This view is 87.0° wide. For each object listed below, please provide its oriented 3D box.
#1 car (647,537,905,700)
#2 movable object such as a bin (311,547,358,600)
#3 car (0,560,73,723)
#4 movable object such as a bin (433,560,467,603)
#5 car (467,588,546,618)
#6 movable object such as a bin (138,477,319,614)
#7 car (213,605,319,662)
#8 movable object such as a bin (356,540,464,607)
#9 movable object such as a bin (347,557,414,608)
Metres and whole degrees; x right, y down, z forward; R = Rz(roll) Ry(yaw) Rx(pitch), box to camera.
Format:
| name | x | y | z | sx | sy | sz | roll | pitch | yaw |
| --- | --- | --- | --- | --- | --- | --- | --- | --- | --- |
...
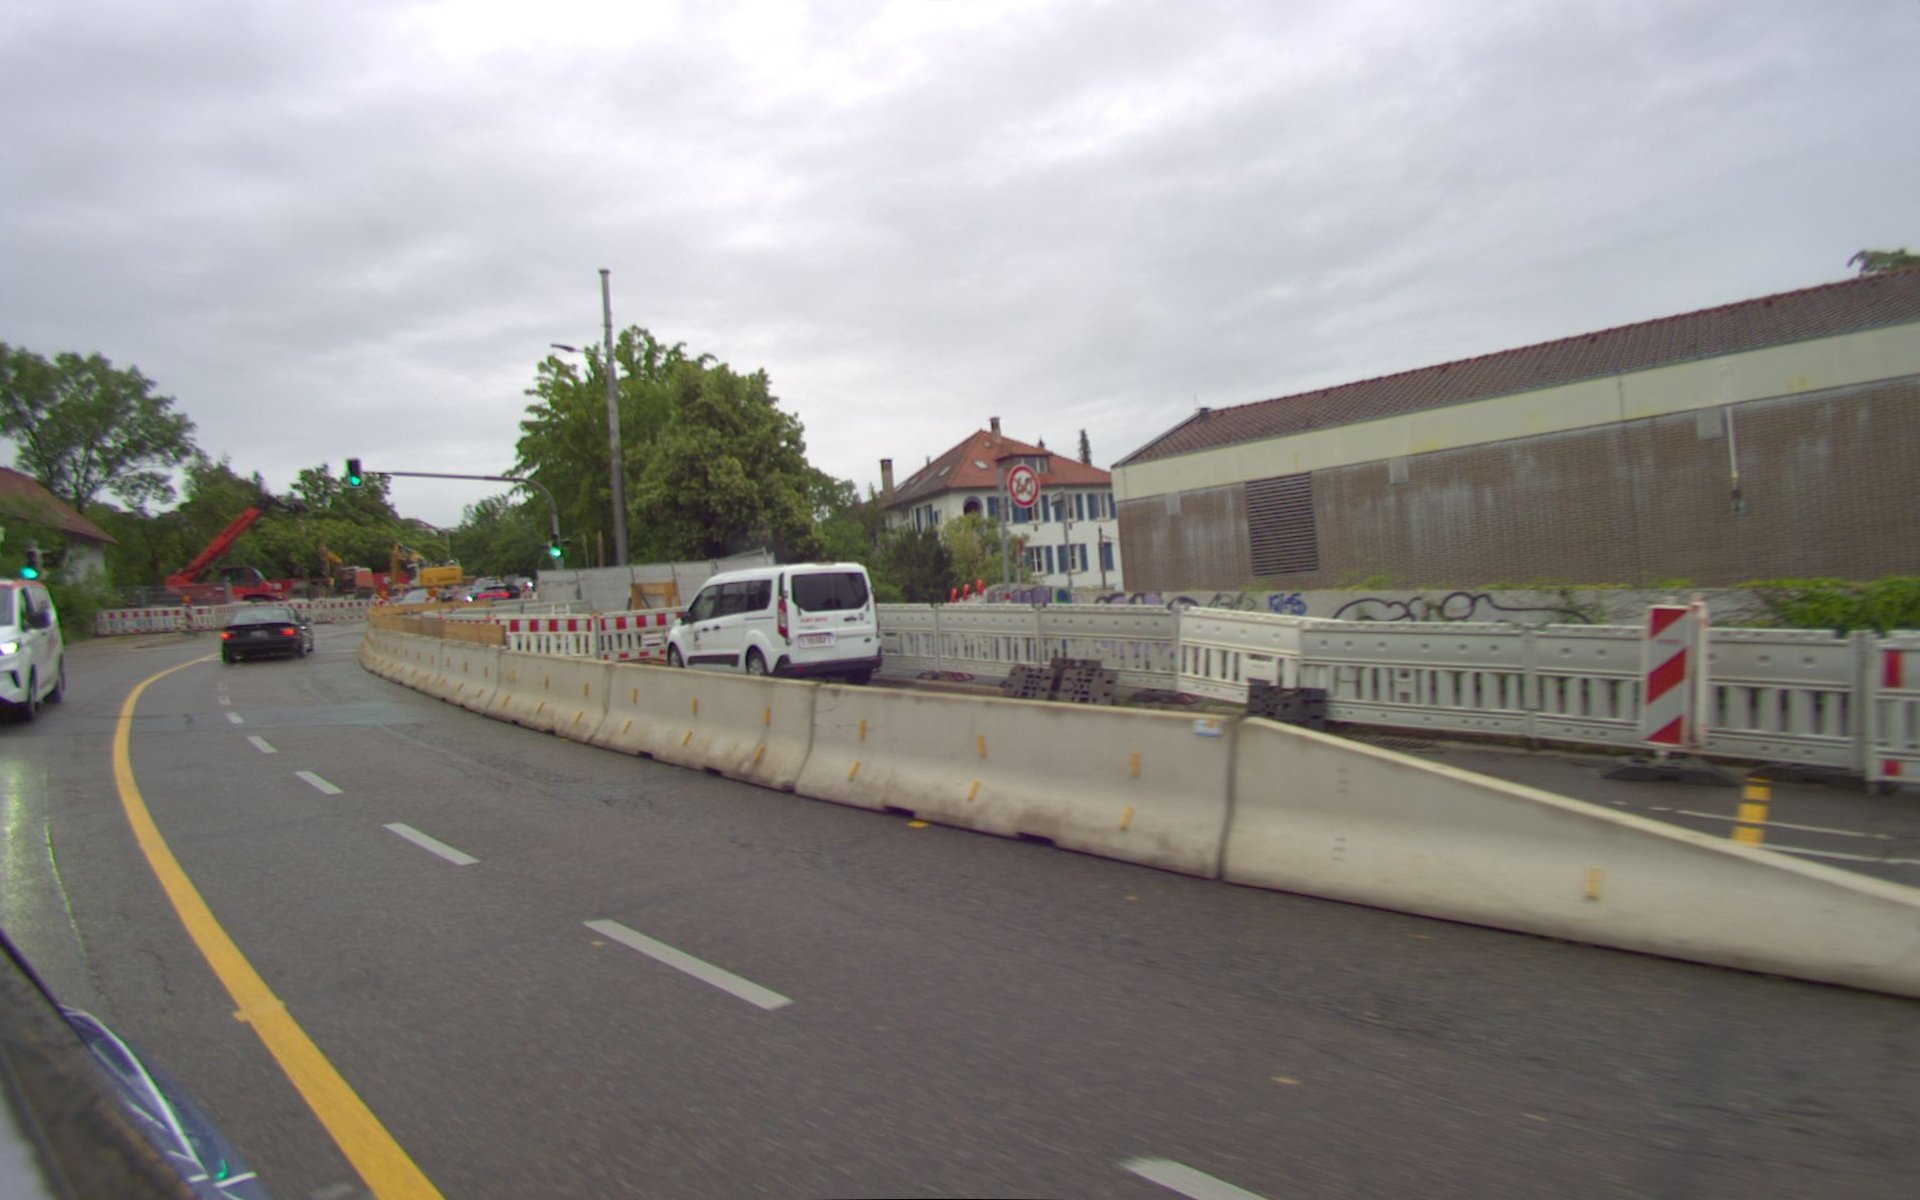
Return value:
| name | x | y | z | sx | sy | sz | roll | pitch | yaw |
| --- | --- | --- | --- | --- | --- | --- | --- | --- | --- |
| car | -3.015 | 0.463 | 15.633 | 1.967 | 2.029 | 4.816 | 3 | -7 | -37 |
| movable object such as a bin | -49.390 | -2.093 | 80.026 | 1.966 | 3.916 | 4.632 | -5 | 3 | -20 |
| car | -14.090 | 0.523 | 14.132 | 1.967 | 2.029 | 4.961 | -1 | 0 | -35 |
| movable object such as a bin | -43.490 | -1.604 | 86.364 | 1.966 | 3.328 | 3.849 | -5 | 5 | -22 |
| car | -25.172 | 0.140 | 56.290 | 1.771 | 1.413 | 4.351 | -3 | 2 | 11 |
| movable object such as a bin | -39.160 | -2.980 | 54.545 | 6.853 | 6.737 | 3.056 | -5 | 3 | -22 |
| car | -17.855 | 0.808 | 26.220 | 1.624 | 1.321 | 4.278 | 1 | 0 | -26 |
| movable object such as a bin | -44.737 | -2.177 | 82.191 | 10.799 | 4.953 | 3.031 | 1 | 6 | 36 |
| movable object such as a bin | -43.018 | -1.285 | 75.214 | 3.932 | 3.228 | 2.414 | -6 | -2 | -27 |
